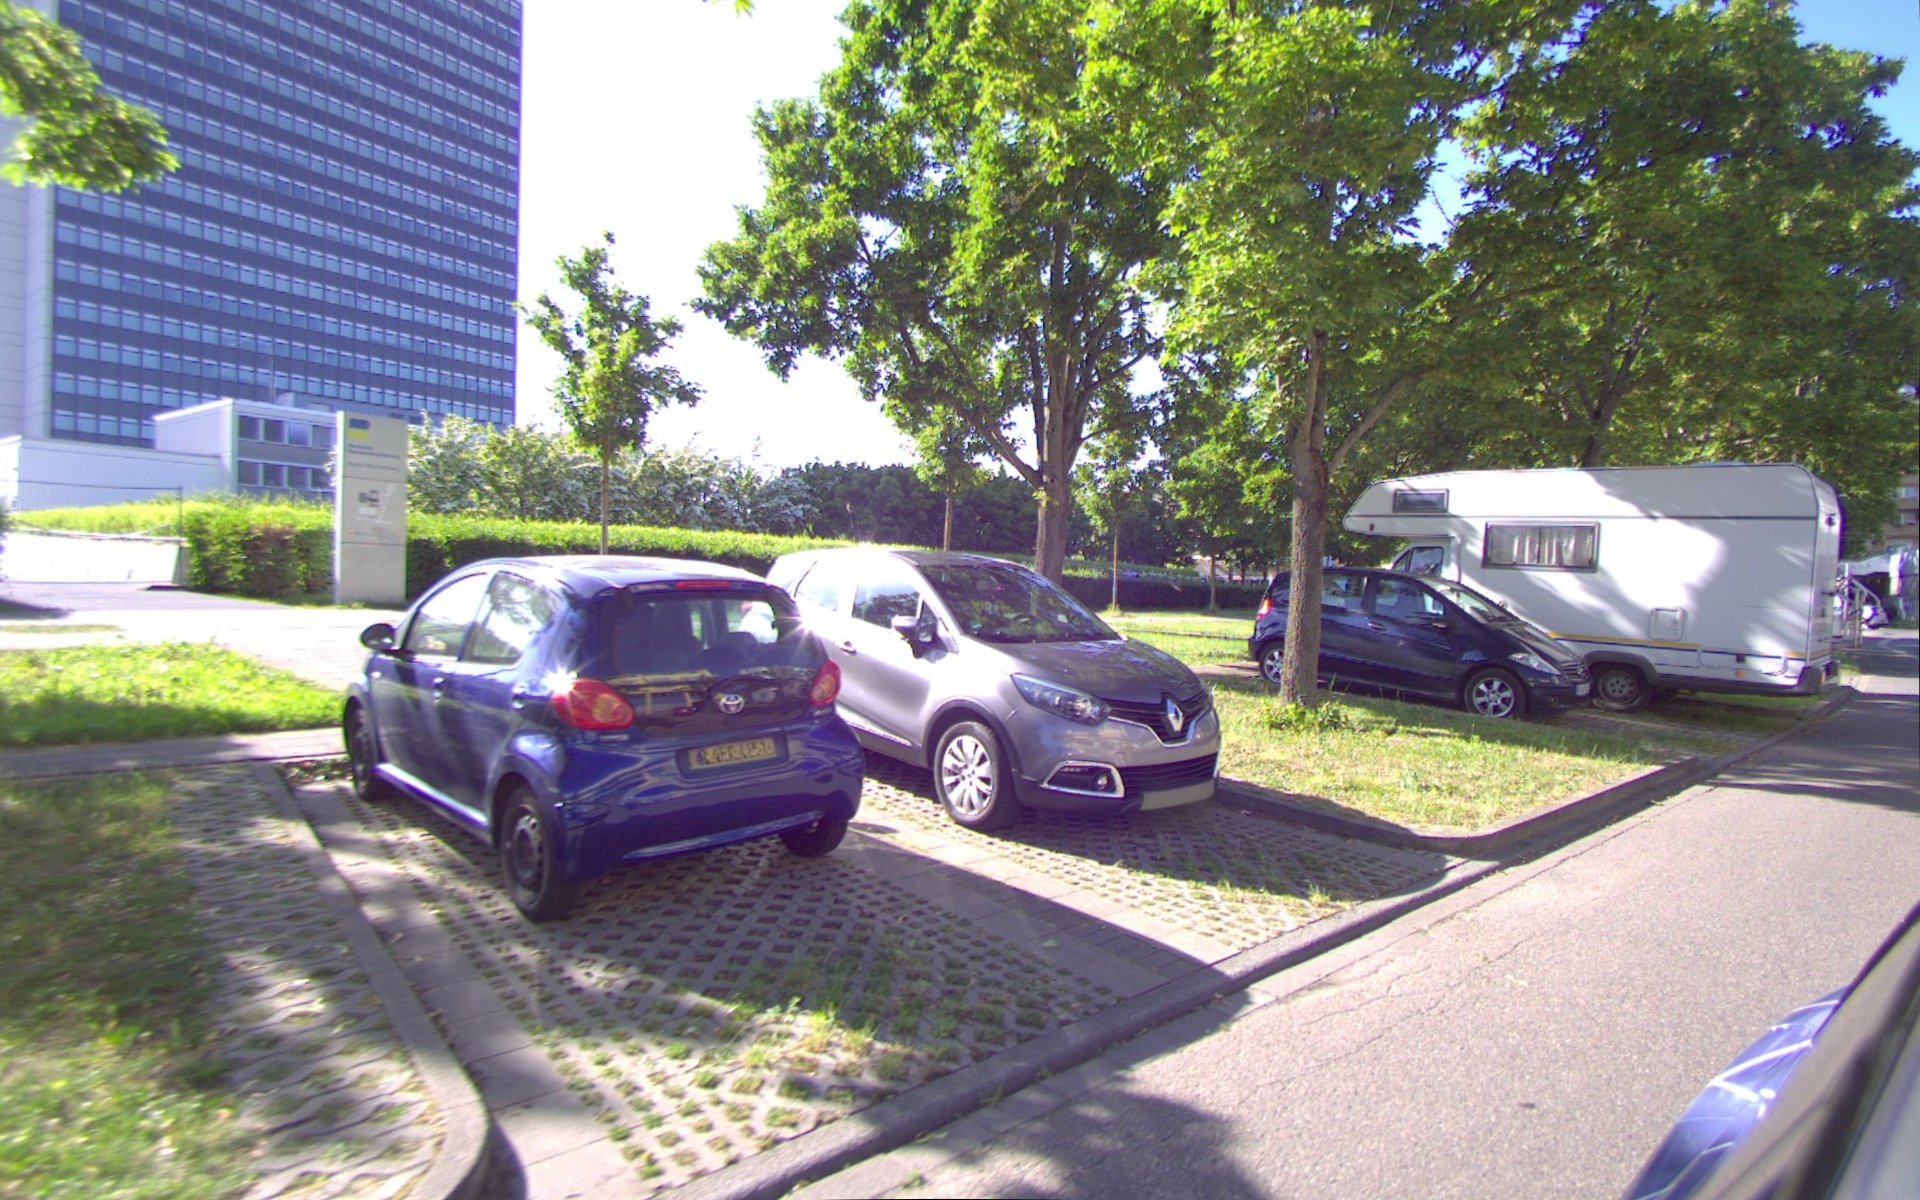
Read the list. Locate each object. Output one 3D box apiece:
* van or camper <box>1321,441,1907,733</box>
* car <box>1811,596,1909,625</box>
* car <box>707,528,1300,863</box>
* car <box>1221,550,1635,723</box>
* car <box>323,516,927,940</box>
[{"bbox_3d":[8.374,-0.359,13.557,2.626,3.019,5.992,0,4,-43],"label":"van or camper"},{"bbox_3d":[55.075,0.624,62.018,1.890,1.573,4.076,1,2,-28],"label":"car"},{"bbox_3d":[0.007,0.368,7.241,1.826,1.564,4.205,1,4,-40],"label":"car"},{"bbox_3d":[5.542,0.296,12.392,1.828,1.564,4.156,0,4,-43],"label":"car"},{"bbox_3d":[-2.049,0.376,5.626,1.829,1.497,3.466,0,5,-44],"label":"car"}]
